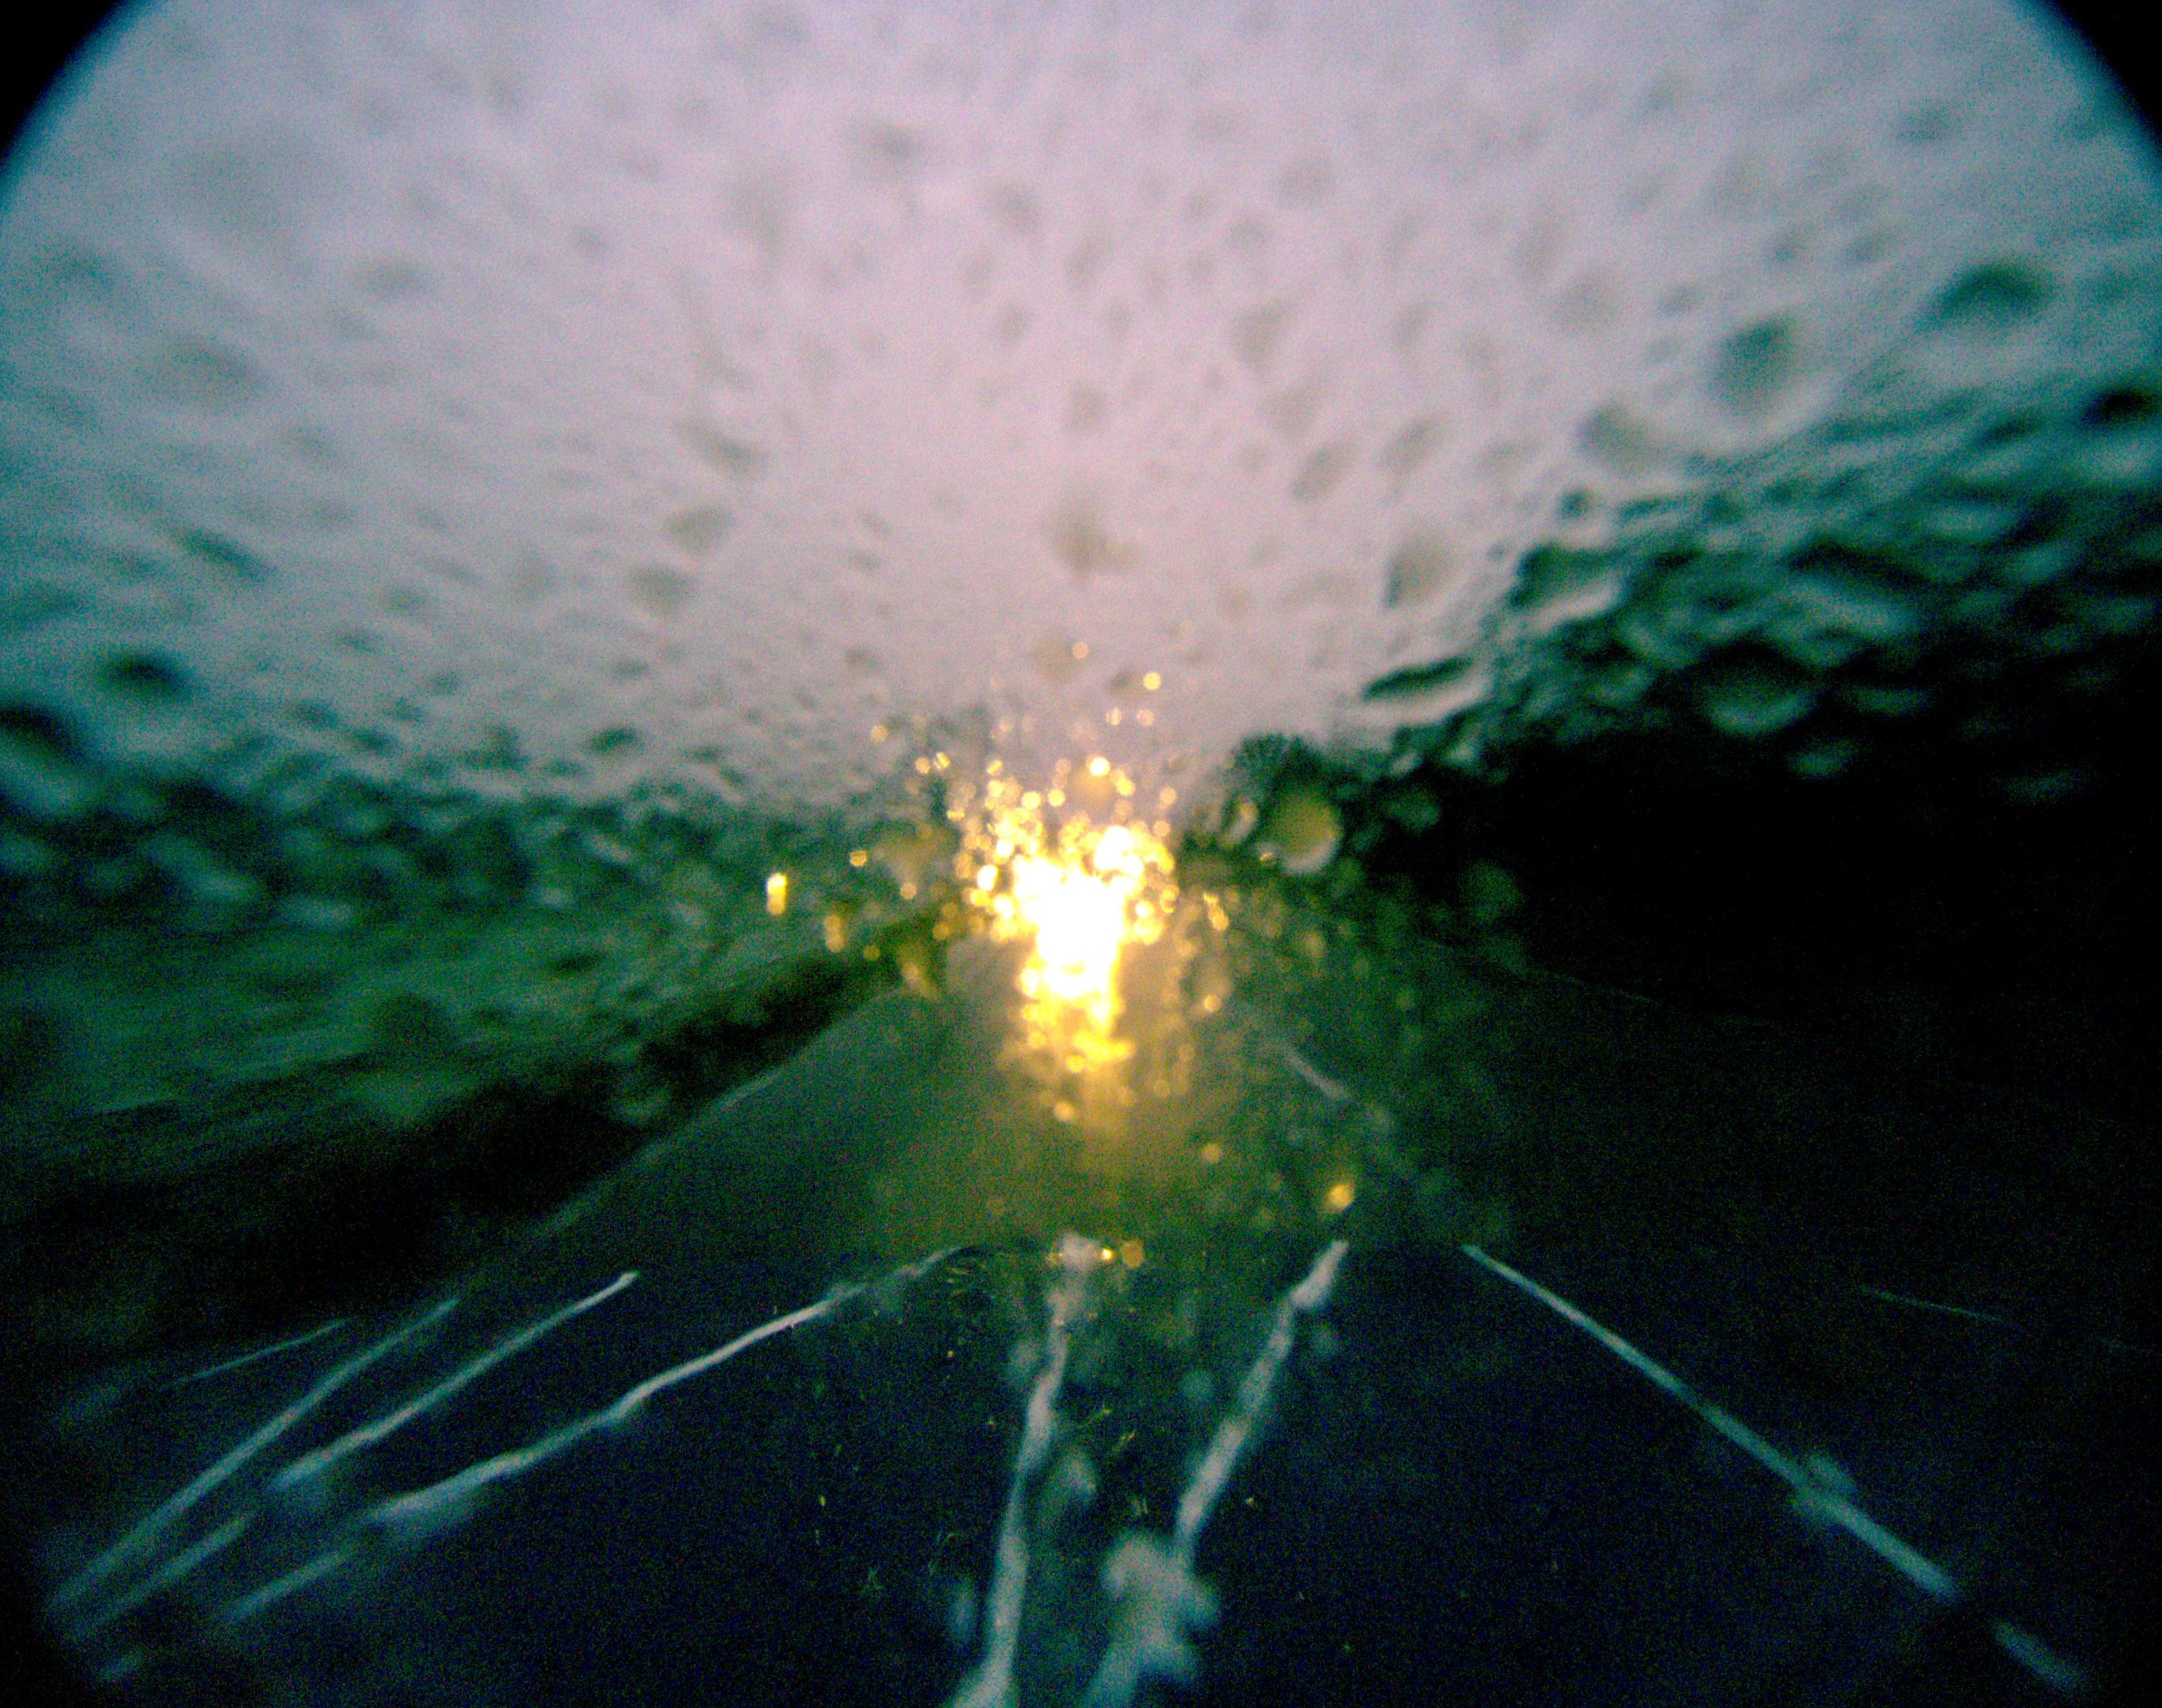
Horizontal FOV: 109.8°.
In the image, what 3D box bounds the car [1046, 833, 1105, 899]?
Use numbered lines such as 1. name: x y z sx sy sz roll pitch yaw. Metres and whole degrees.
1. car: -0.133 0.410 28.482 1.953 2.195 4.535 -2 0 2
